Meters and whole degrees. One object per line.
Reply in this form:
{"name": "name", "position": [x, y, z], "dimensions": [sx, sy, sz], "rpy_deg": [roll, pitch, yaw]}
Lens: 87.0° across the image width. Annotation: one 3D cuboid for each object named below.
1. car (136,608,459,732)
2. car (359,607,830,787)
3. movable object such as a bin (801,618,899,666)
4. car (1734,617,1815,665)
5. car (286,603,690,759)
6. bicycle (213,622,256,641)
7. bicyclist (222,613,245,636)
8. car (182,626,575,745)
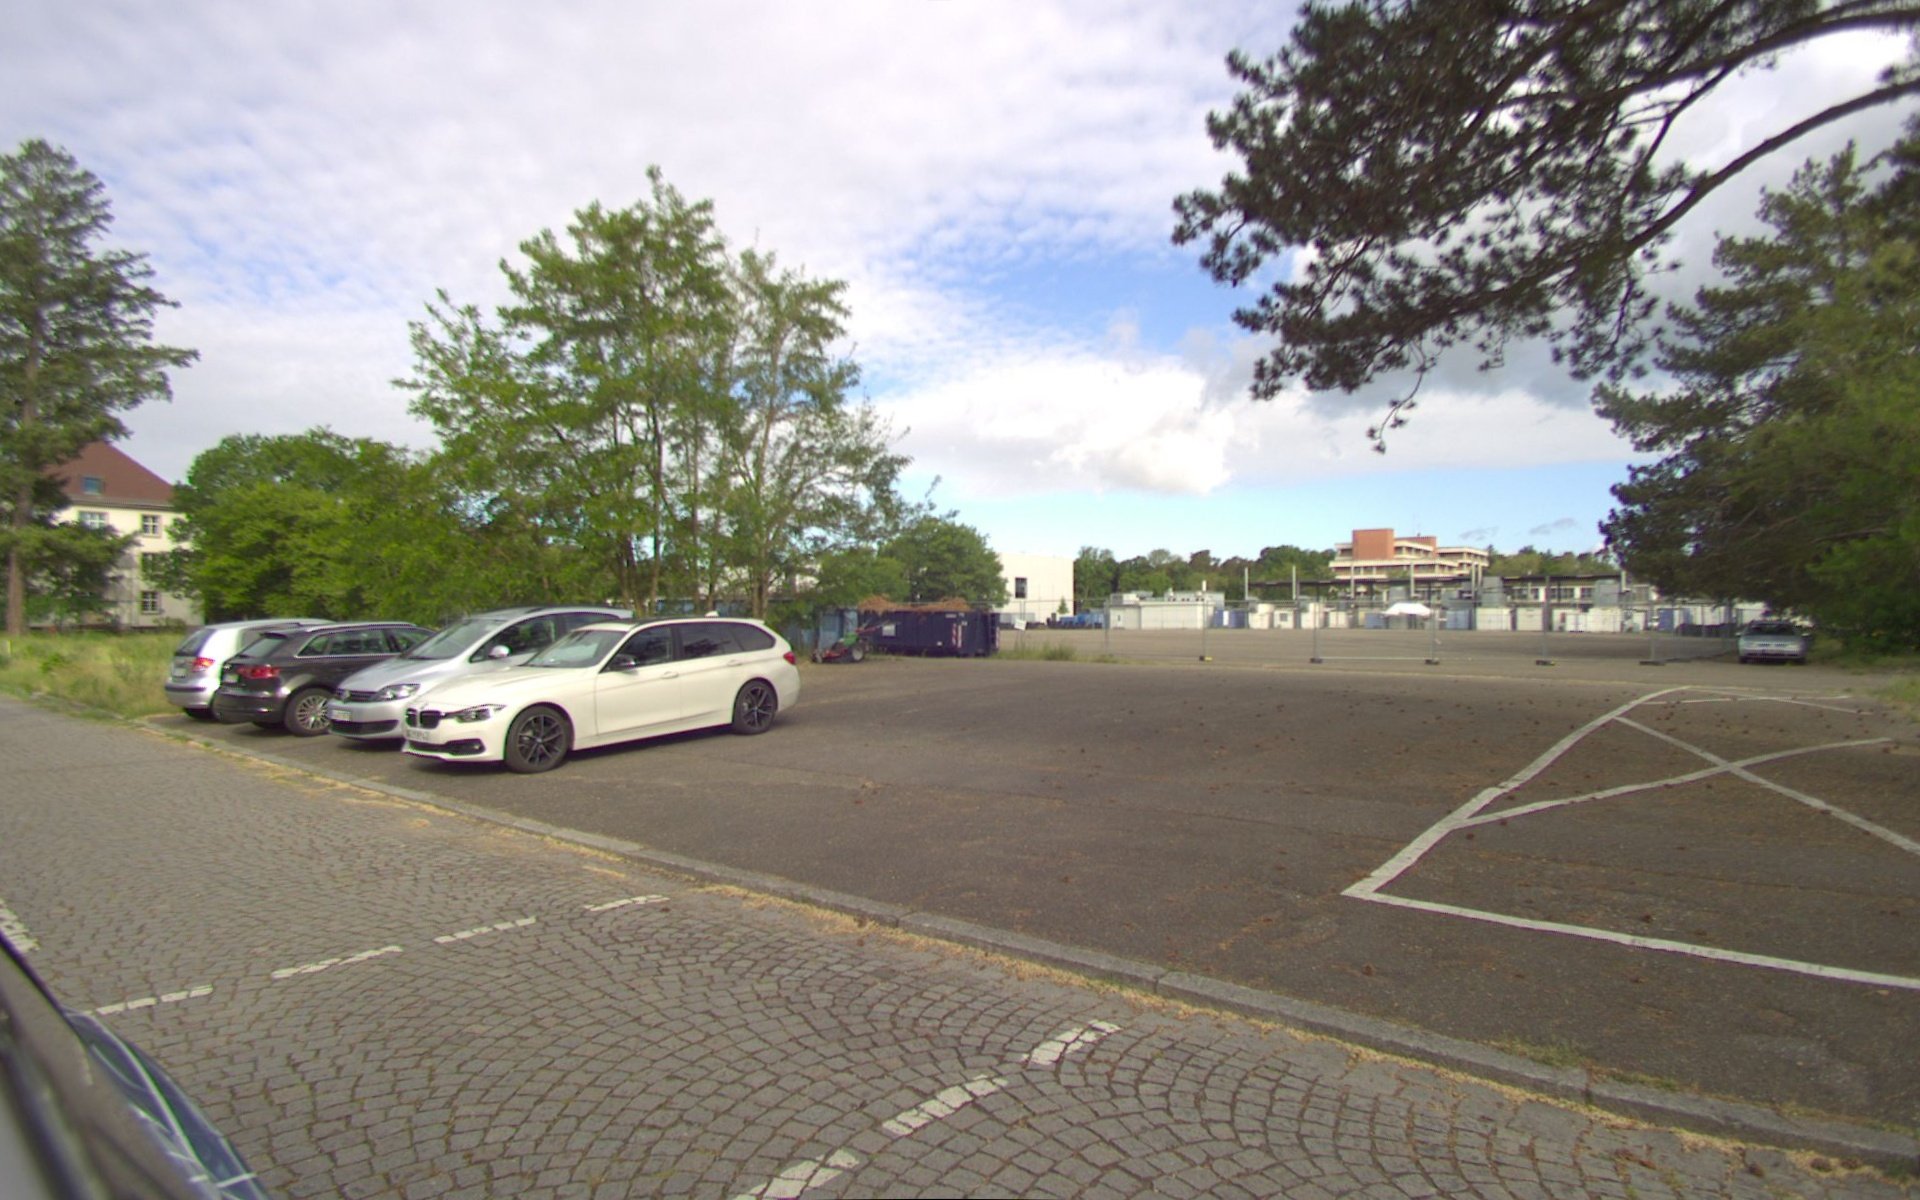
{"name": "car", "position": [-10.391, 0.999, 16.148], "dimensions": [1.677, 1.467, 3.940], "rpy_deg": [-1, 3, 35]}
{"name": "car", "position": [-3.867, 0.894, 11.549], "dimensions": [1.910, 1.450, 4.761], "rpy_deg": [-1, 1, 37]}
{"name": "movable object such as a bin", "position": [-2.912, 1.086, 26.964], "dimensions": [1.169, 1.221, 2.506], "rpy_deg": [-1, -1, 39]}
{"name": "car", "position": [27.027, 1.307, 33.693], "dimensions": [1.922, 1.488, 4.314], "rpy_deg": [-1, -1, 37]}
{"name": "car", "position": [-5.882, 0.885, 13.153], "dimensions": [1.844, 1.602, 4.433], "rpy_deg": [-1, 0, 36]}
{"name": "bicycle", "position": [-58.600, 2.517, 81.744], "dimensions": [2.637, 1.516, 1.273], "rpy_deg": [1, -2, -45]}
{"name": "bicyclist", "position": [-58.676, 1.988, 81.698], "dimensions": [1.300, 1.882, 1.250], "rpy_deg": [1, -2, -44]}
{"name": "car", "position": [-8.170, 1.097, 14.653], "dimensions": [1.882, 1.433, 4.576], "rpy_deg": [-1, -2, 37]}
